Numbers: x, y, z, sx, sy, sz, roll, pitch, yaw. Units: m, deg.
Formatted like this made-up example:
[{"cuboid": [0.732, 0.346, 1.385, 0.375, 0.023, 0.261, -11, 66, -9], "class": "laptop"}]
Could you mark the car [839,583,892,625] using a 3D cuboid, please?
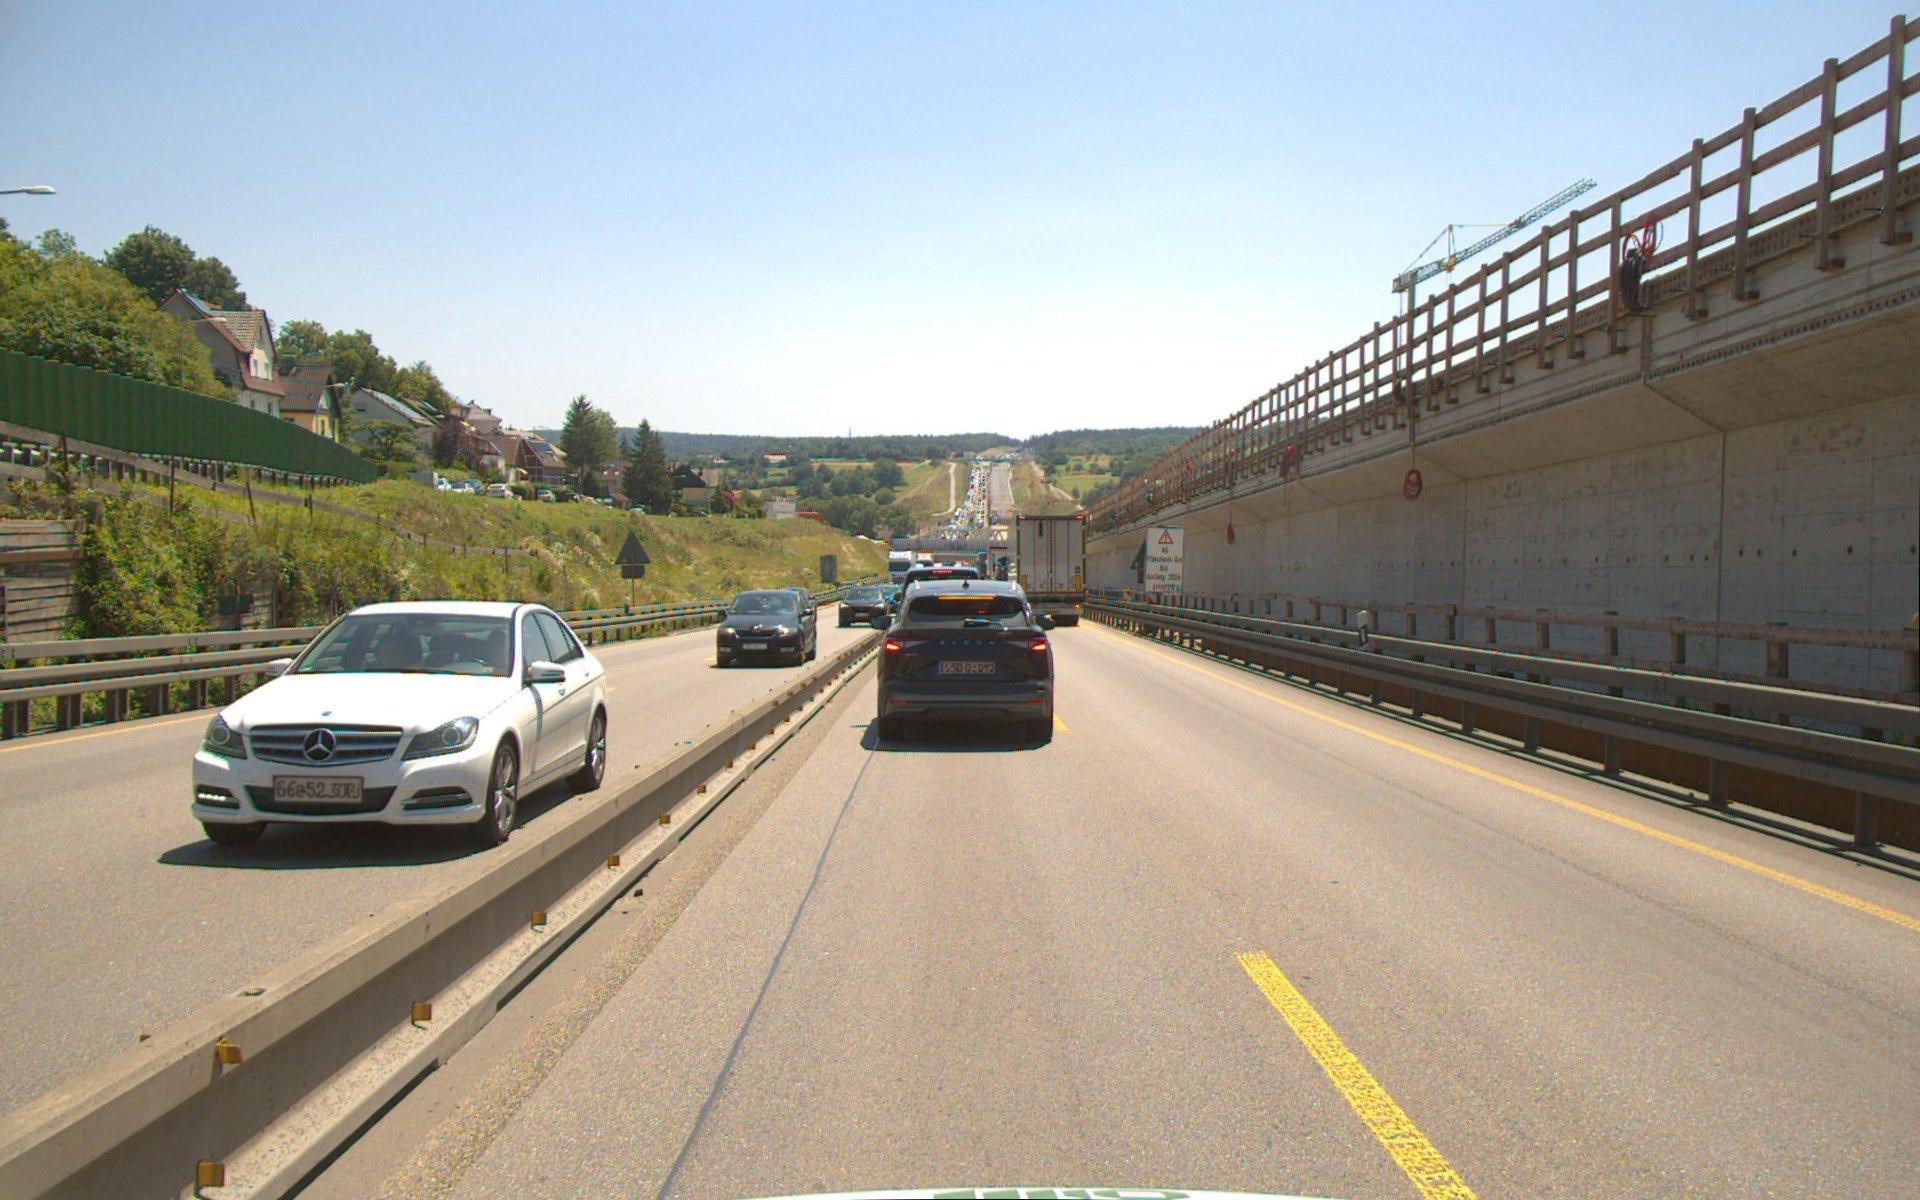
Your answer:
[{"cuboid": [-3.561, 0.160, 62.982, 1.805, 1.557, 4.293, 0, 0, -1], "class": "car"}]

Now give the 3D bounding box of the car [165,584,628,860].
[{"cuboid": [-3.504, 0.677, 11.167, 1.697, 1.463, 4.257, 2, 0, -1], "class": "car"}]

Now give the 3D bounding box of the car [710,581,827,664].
[{"cuboid": [-3.750, 0.453, 33.129, 1.573, 1.472, 4.671, -3, -1, 2], "class": "car"}]

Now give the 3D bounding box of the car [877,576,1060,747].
[{"cuboid": [0.050, 0.580, 17.701, 1.746, 1.625, 3.754, 0, 0, -1], "class": "car"}]

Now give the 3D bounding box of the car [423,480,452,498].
[{"cuboid": [-36.595, -7.784, 115.967, 1.255, 1.057, 3.271, 0, 1, -6], "class": "car"}]

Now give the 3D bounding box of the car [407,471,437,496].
[{"cuboid": [-36.172, -7.800, 111.215, 1.703, 1.422, 3.778, 2, 0, -21], "class": "car"}]

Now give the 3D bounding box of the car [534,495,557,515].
[{"cuboid": [-40.731, -9.349, 162.480, 1.890, 1.758, 3.991, 0, 0, -10], "class": "car"}]

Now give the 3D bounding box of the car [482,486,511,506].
[{"cuboid": [-40.012, -8.991, 142.787, 1.958, 1.342, 3.990, 3, 0, -11], "class": "car"}]

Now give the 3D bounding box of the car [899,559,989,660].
[{"cuboid": [-0.385, 0.181, 34.738, 1.714, 1.928, 3.753, 2, 0, -2], "class": "car"}]

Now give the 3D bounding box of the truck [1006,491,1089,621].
[{"cuboid": [3.361, -1.567, 66.233, 2.787, 4.696, 11.811, 1, 0, 1], "class": "truck"}]

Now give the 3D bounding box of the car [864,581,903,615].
[{"cuboid": [-3.685, -0.115, 80.626, 1.727, 1.638, 3.892, 0, 0, 0], "class": "car"}]

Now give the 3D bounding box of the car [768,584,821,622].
[{"cuboid": [-6.842, 0.138, 68.806, 1.777, 1.473, 5.005, 2, 0, -1], "class": "car"}]

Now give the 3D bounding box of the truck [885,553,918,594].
[{"cuboid": [-6.339, -2.786, 179.139, 3.119, 4.312, 6.476, 0, 0, -6], "class": "truck"}]
